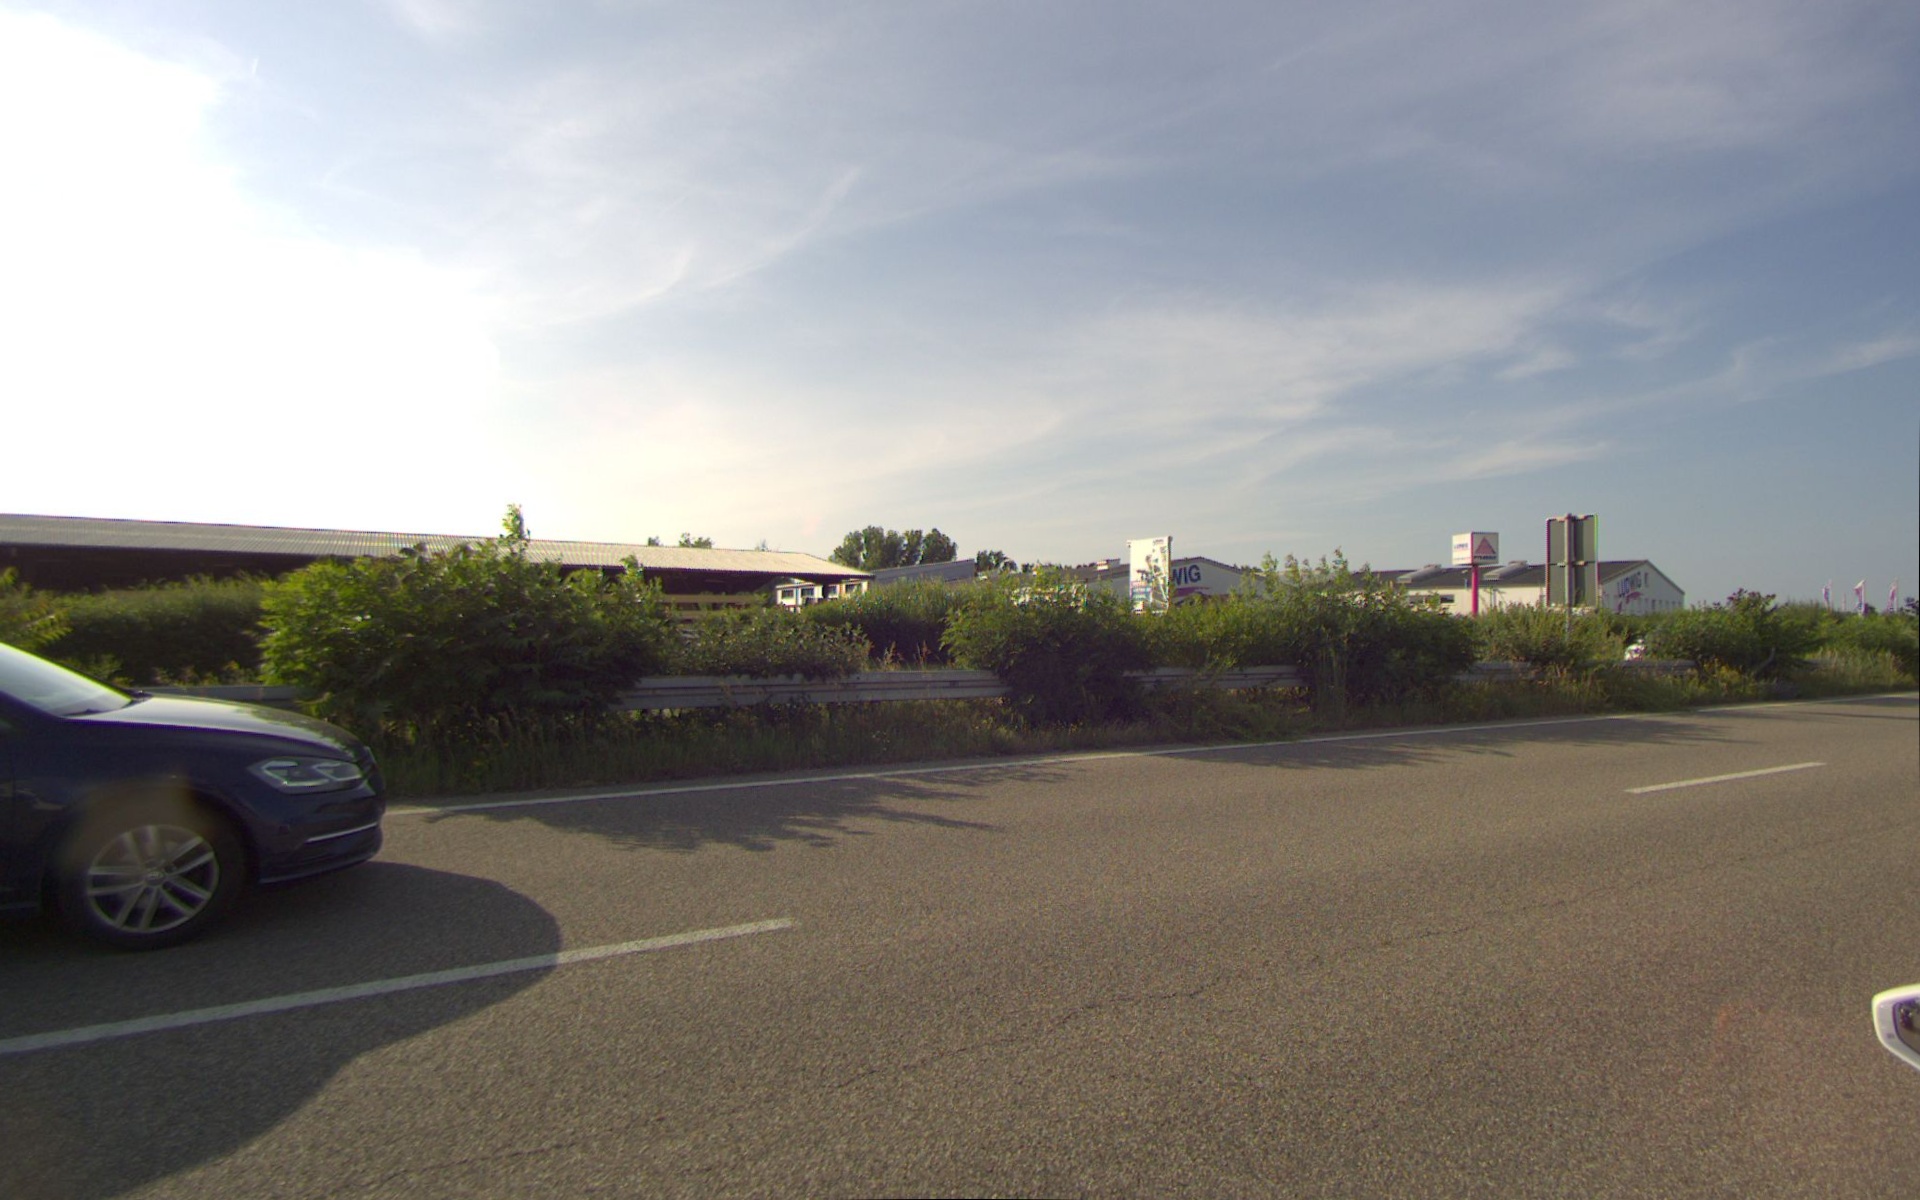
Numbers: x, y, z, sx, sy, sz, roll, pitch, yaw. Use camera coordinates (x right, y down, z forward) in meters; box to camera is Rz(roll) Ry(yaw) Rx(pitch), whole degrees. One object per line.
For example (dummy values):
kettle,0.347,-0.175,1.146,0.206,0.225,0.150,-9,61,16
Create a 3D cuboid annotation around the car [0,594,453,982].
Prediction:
car,-4.792,0.722,4.155,4.721,1.490,1.638,1,-2,-31
